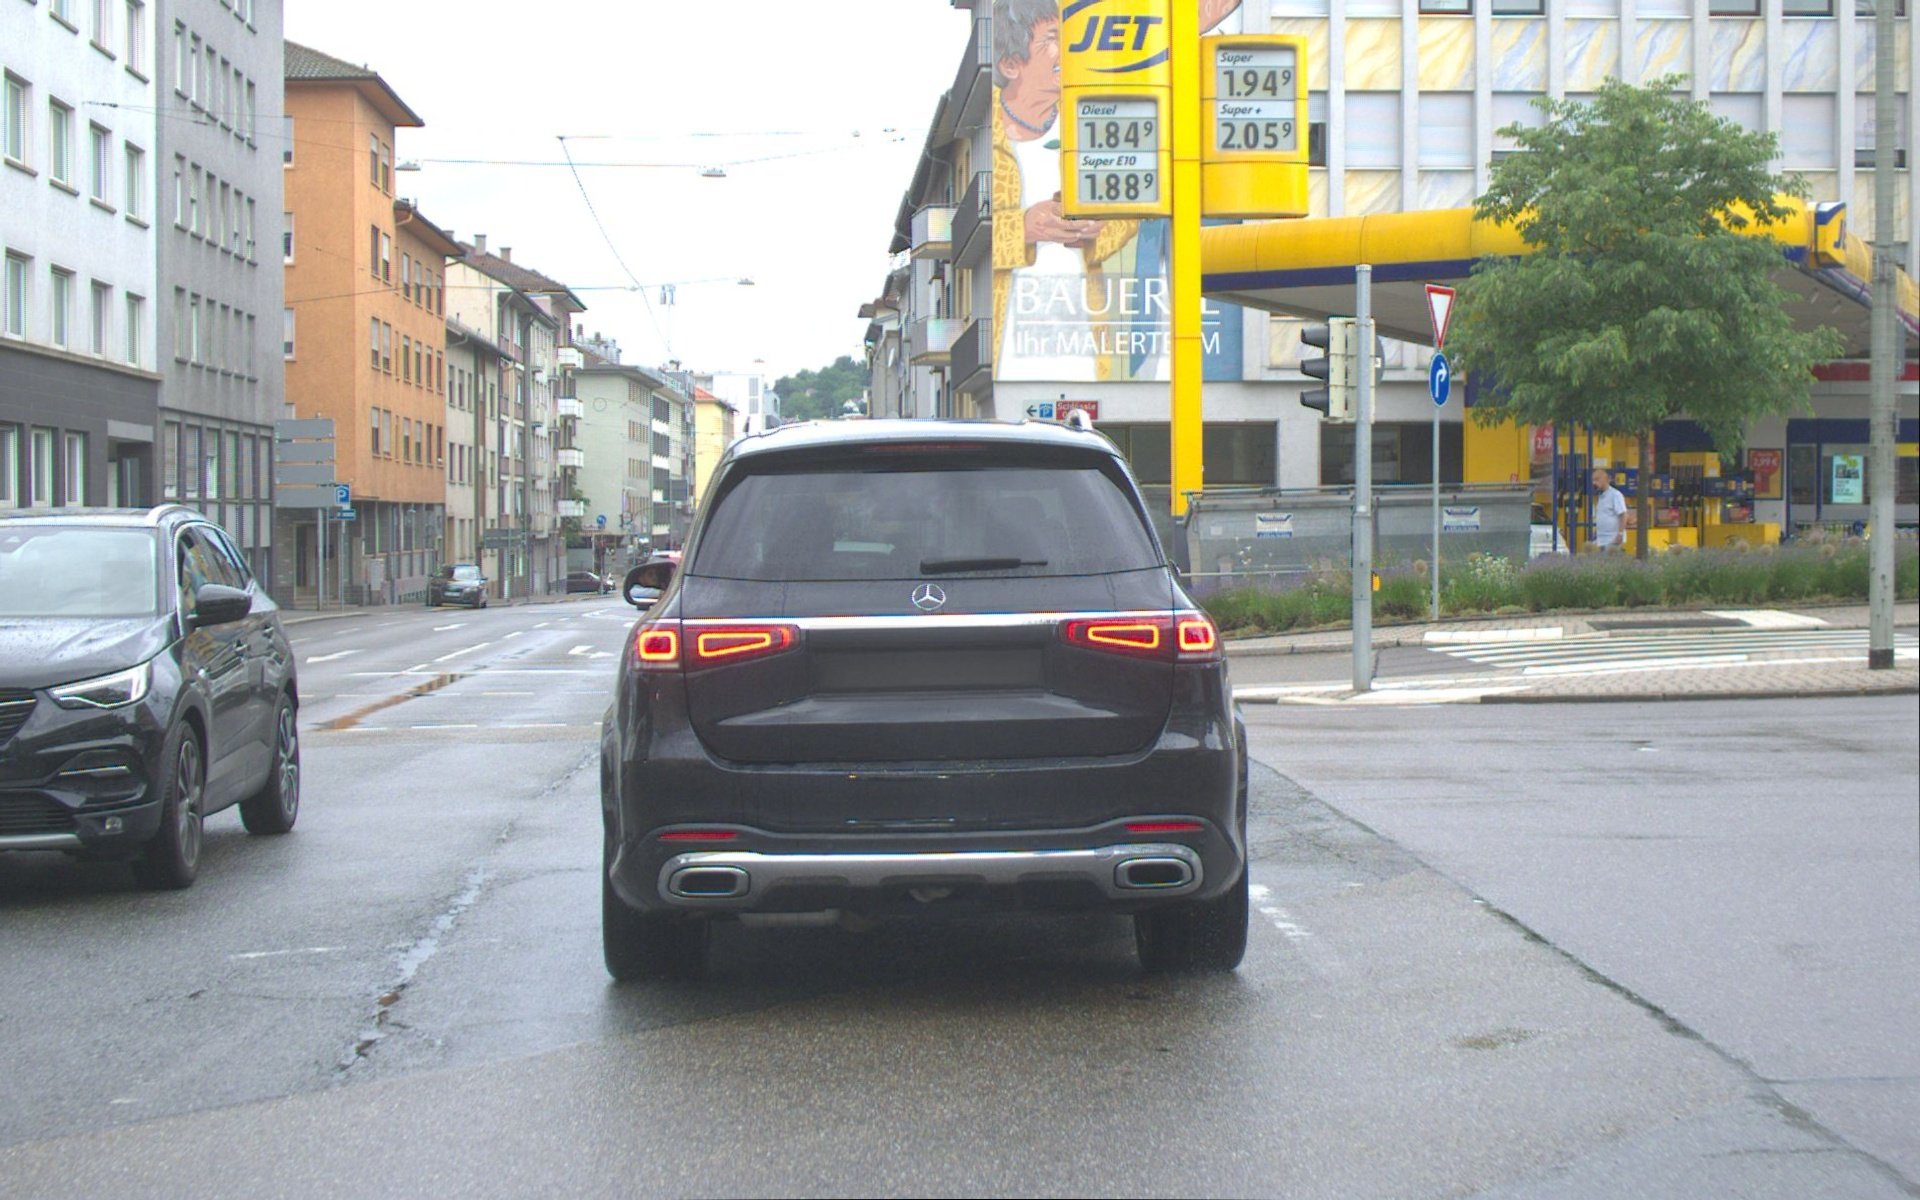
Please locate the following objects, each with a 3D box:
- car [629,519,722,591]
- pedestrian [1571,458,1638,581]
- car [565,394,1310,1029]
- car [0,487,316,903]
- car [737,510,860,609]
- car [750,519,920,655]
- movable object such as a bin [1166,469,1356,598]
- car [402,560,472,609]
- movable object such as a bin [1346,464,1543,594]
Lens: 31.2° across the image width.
[{"bbox_3d":[-6.889,-1.125,83.647,2.076,1.644,4.296,2,1,-3],"label":"car"},{"bbox_3d":[8.451,-1.051,45.120,0.664,1.579,0.847,2,1,0],"label":"pedestrian"},{"bbox_3d":[-0.182,0.271,12.109,2.076,1.759,4.612,2,1,-3],"label":"car"},{"bbox_3d":[-4.101,0.316,15.250,1.808,1.589,4.296,0,1,-2],"label":"car"},{"bbox_3d":[-2.898,-0.749,61.414,2.076,1.644,4.296,2,1,-3],"label":"car"},{"bbox_3d":[-1.676,-0.213,45.146,2.076,1.644,4.296,2,1,-3],"label":"car"},{"bbox_3d":[3.763,-0.836,43.234,2.155,1.569,1.773,-1,1,-2],"label":"movable object such as a bin"},{"bbox_3d":[-17.047,-0.519,112.182,1.891,1.453,4.550,2,1,-5],"label":"car"},{"bbox_3d":[6.100,-0.896,43.449,2.155,1.550,1.773,-1,1,-2],"label":"movable object such as a bin"}]
